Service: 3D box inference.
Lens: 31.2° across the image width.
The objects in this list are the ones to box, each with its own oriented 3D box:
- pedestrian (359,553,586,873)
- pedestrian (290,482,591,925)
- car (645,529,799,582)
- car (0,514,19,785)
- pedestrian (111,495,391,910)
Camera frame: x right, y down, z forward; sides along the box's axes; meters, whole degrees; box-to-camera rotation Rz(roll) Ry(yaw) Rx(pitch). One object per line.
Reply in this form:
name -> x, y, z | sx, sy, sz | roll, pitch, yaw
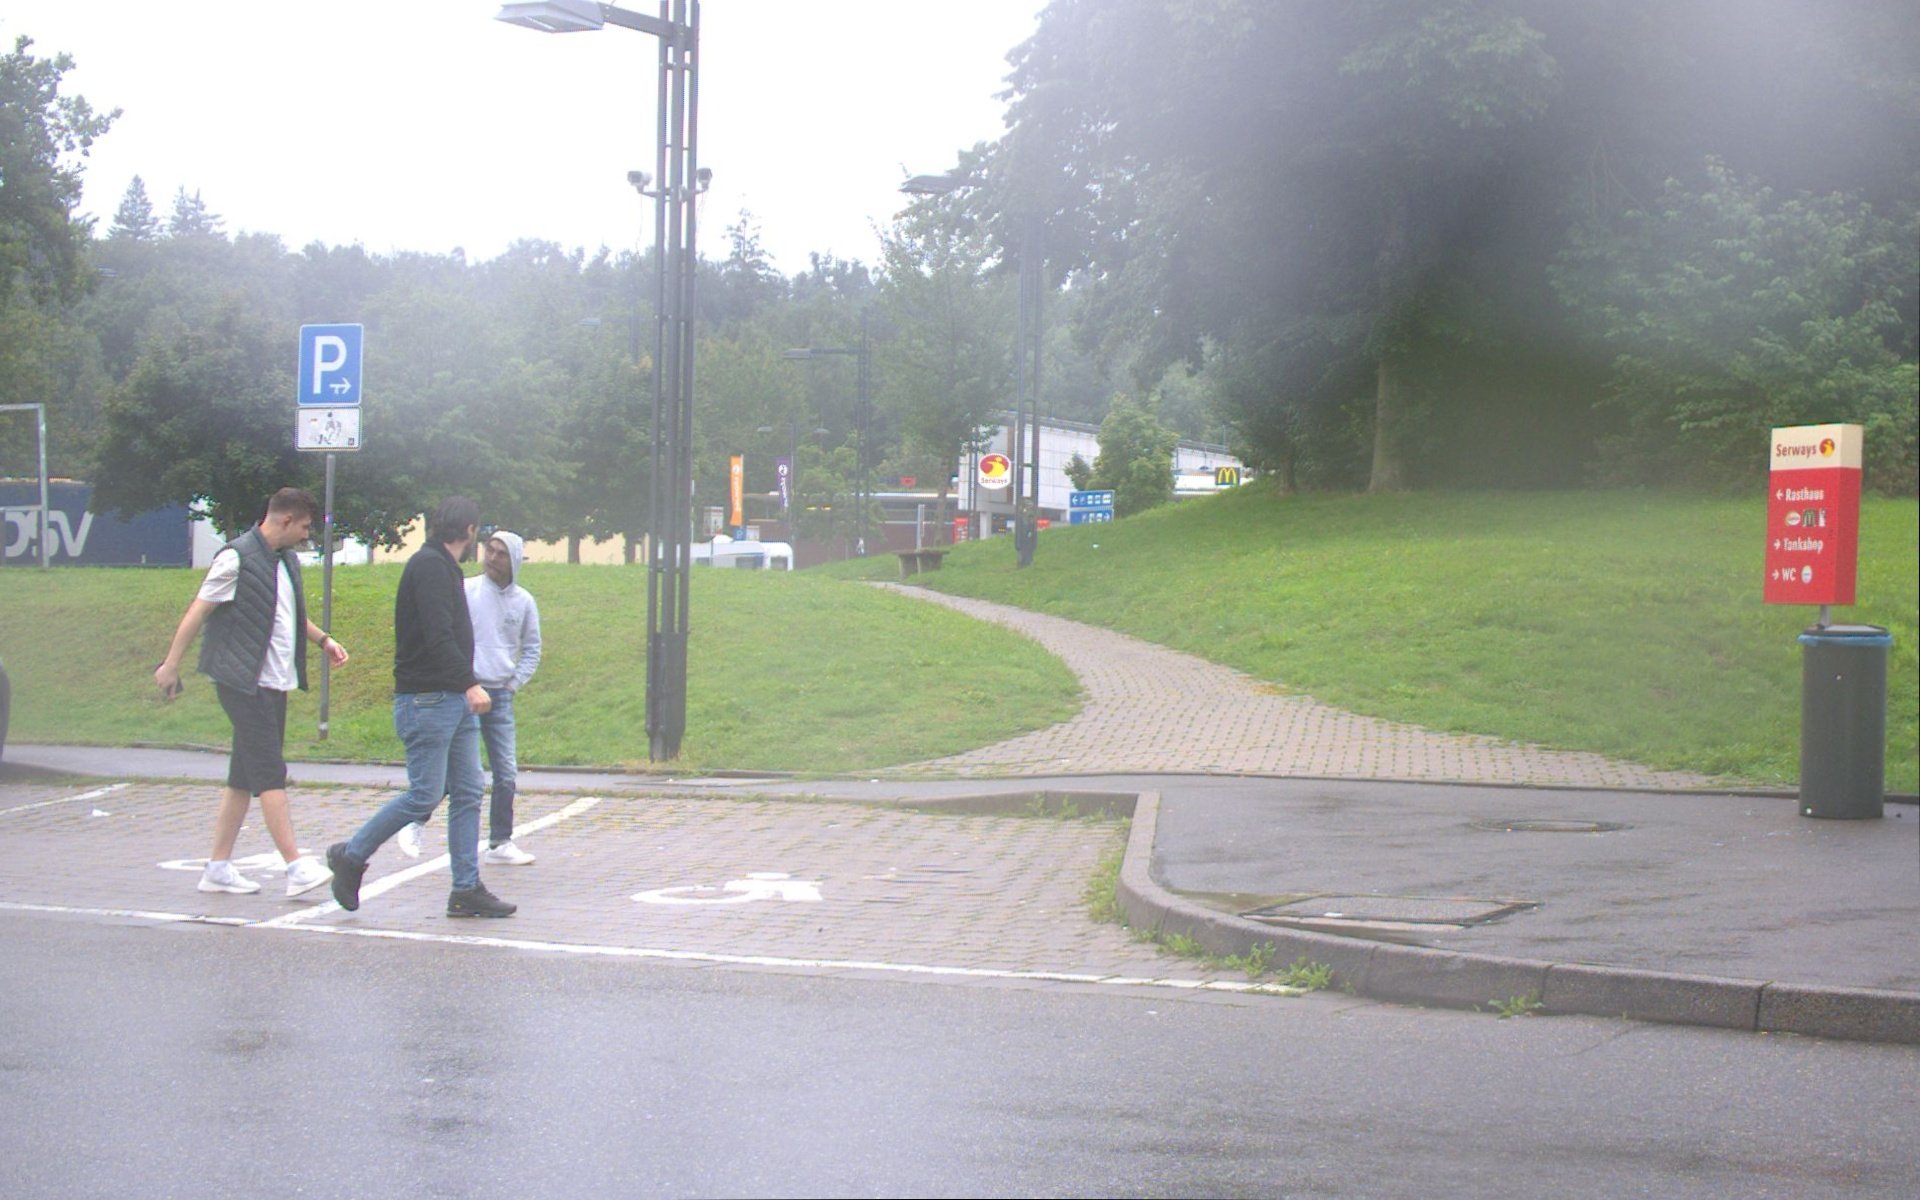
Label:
pedestrian -> -2.431, 0.545, 17.160 | 0.890, 1.544, 0.659 | 0, 1, 29
pedestrian -> -2.259, 0.423, 14.987 | 1.000, 1.858, 0.798 | 0, 1, 28
car -> -9.262, -1.743, 133.779 | 5.429, 2.007, 2.453 | 1, 1, 20
car -> -7.767, 0.372, 21.451 | 1.885, 1.821, 4.411 | 0, 1, 11
pedestrian -> -3.259, 0.446, 15.826 | 0.974, 1.842, 0.772 | 0, 1, 28
